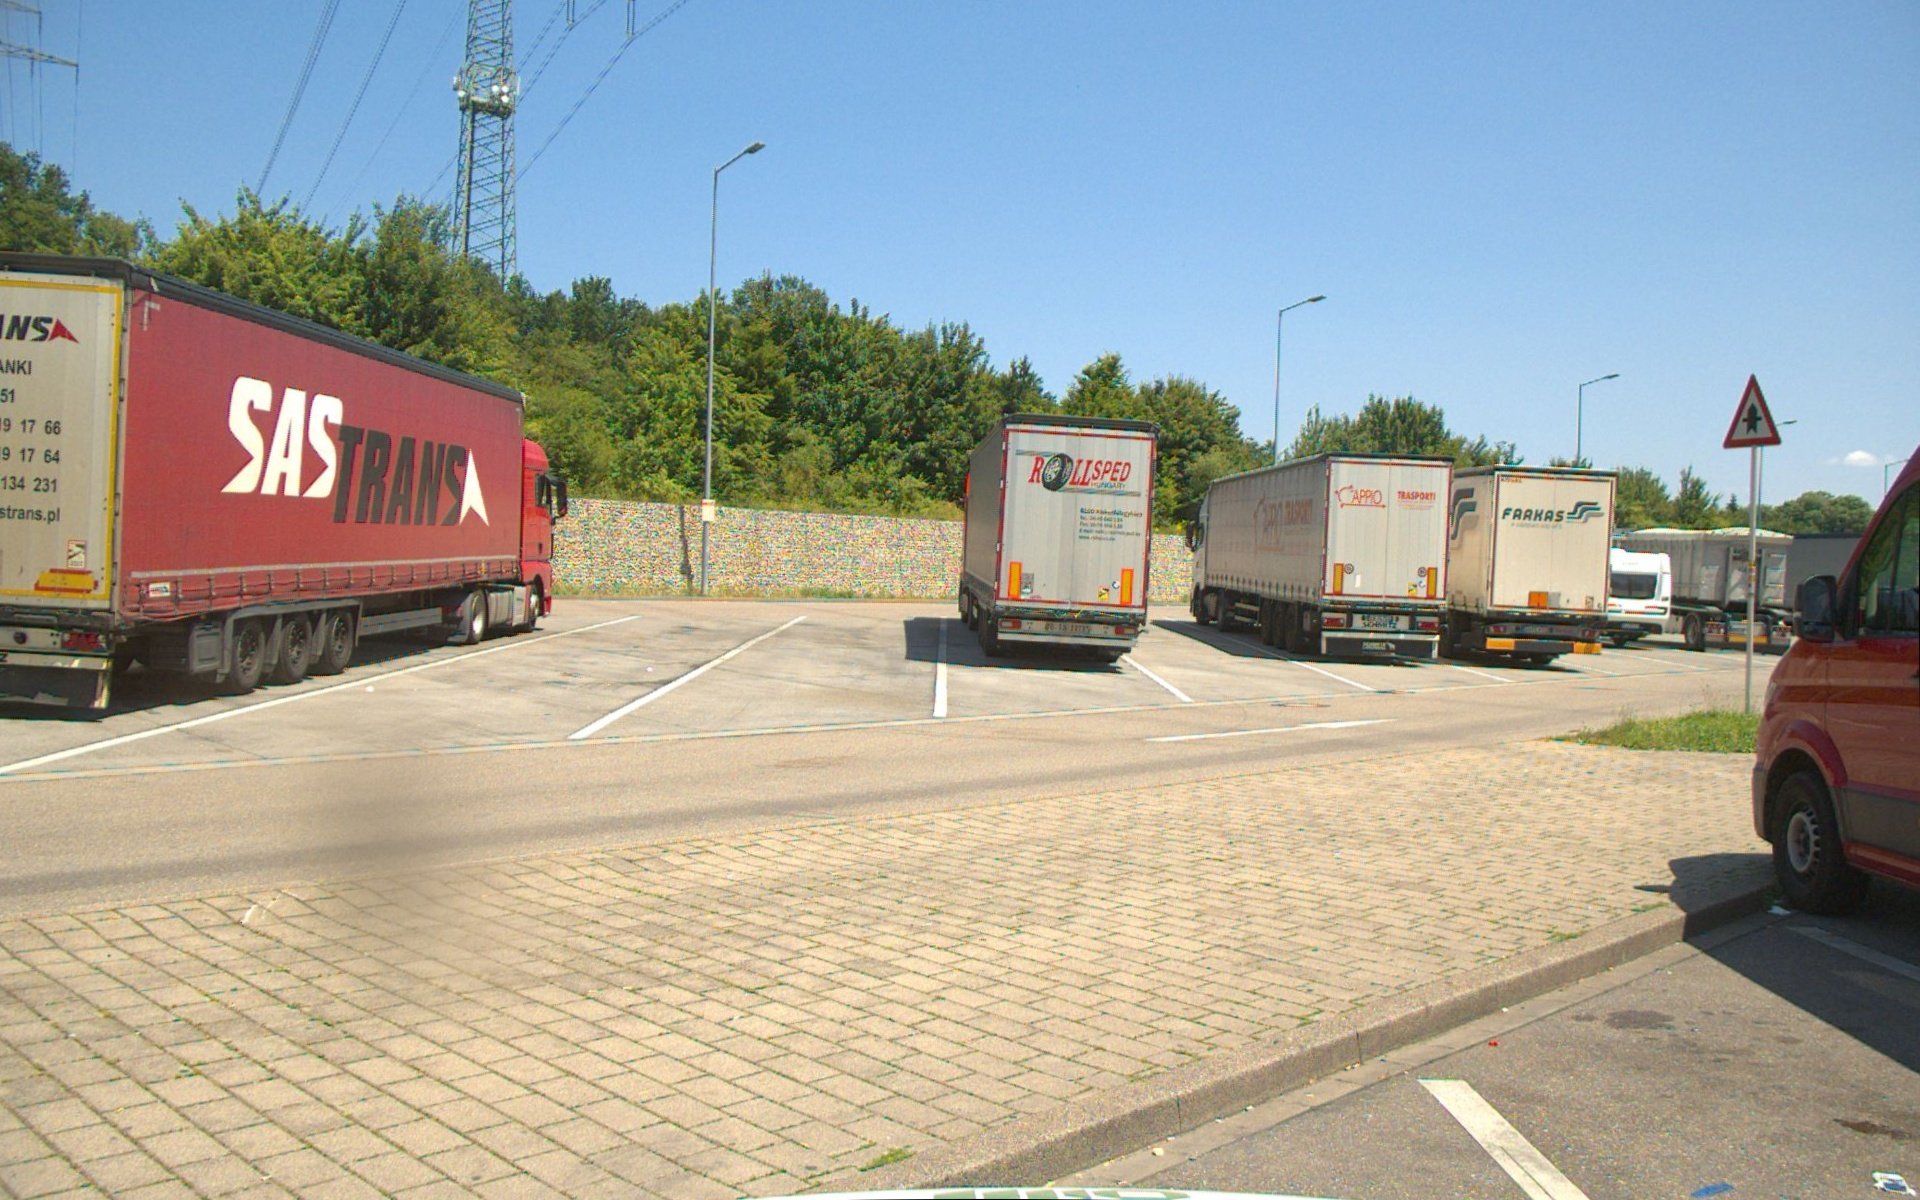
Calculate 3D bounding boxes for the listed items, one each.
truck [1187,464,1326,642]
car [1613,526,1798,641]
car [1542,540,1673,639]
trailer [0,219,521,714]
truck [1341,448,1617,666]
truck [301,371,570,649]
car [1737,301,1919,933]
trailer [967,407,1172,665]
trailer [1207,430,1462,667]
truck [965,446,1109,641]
[{"bbox_3d":[8.023,-1.254,45.400,2.607,4.530,5.863,1,1,-1],"label":"truck"},{"bbox_3d":[21.701,-0.503,48.513,2.449,3.128,6.350,1,1,-1],"label":"car"},{"bbox_3d":[18.236,-0.274,46.754,2.072,2.645,3.999,1,0,-1],"label":"car"},{"bbox_3d":[-8.634,-1.291,20.998,2.743,4.293,13.200,1,1,-1],"label":"trailer"},{"bbox_3d":[11.718,-0.839,38.944,2.534,4.299,11.967,1,0,-1],"label":"truck"},{"bbox_3d":[-8.722,-1.432,28.254,2.749,4.205,5.893,1,1,-1],"label":"truck"},{"bbox_3d":[4.981,0.106,5.576,1.952,2.679,6.385,1,1,3],"label":"car"},{"bbox_3d":[1.785,-1.129,32.157,2.839,4.083,11.313,1,1,-2],"label":"trailer"},{"bbox_3d":[8.179,-1.101,38.285,2.627,4.530,12.826,1,1,-1],"label":"trailer"},{"bbox_3d":[1.623,-1.242,37.747,2.813,4.050,6.028,1,1,-2],"label":"truck"}]
